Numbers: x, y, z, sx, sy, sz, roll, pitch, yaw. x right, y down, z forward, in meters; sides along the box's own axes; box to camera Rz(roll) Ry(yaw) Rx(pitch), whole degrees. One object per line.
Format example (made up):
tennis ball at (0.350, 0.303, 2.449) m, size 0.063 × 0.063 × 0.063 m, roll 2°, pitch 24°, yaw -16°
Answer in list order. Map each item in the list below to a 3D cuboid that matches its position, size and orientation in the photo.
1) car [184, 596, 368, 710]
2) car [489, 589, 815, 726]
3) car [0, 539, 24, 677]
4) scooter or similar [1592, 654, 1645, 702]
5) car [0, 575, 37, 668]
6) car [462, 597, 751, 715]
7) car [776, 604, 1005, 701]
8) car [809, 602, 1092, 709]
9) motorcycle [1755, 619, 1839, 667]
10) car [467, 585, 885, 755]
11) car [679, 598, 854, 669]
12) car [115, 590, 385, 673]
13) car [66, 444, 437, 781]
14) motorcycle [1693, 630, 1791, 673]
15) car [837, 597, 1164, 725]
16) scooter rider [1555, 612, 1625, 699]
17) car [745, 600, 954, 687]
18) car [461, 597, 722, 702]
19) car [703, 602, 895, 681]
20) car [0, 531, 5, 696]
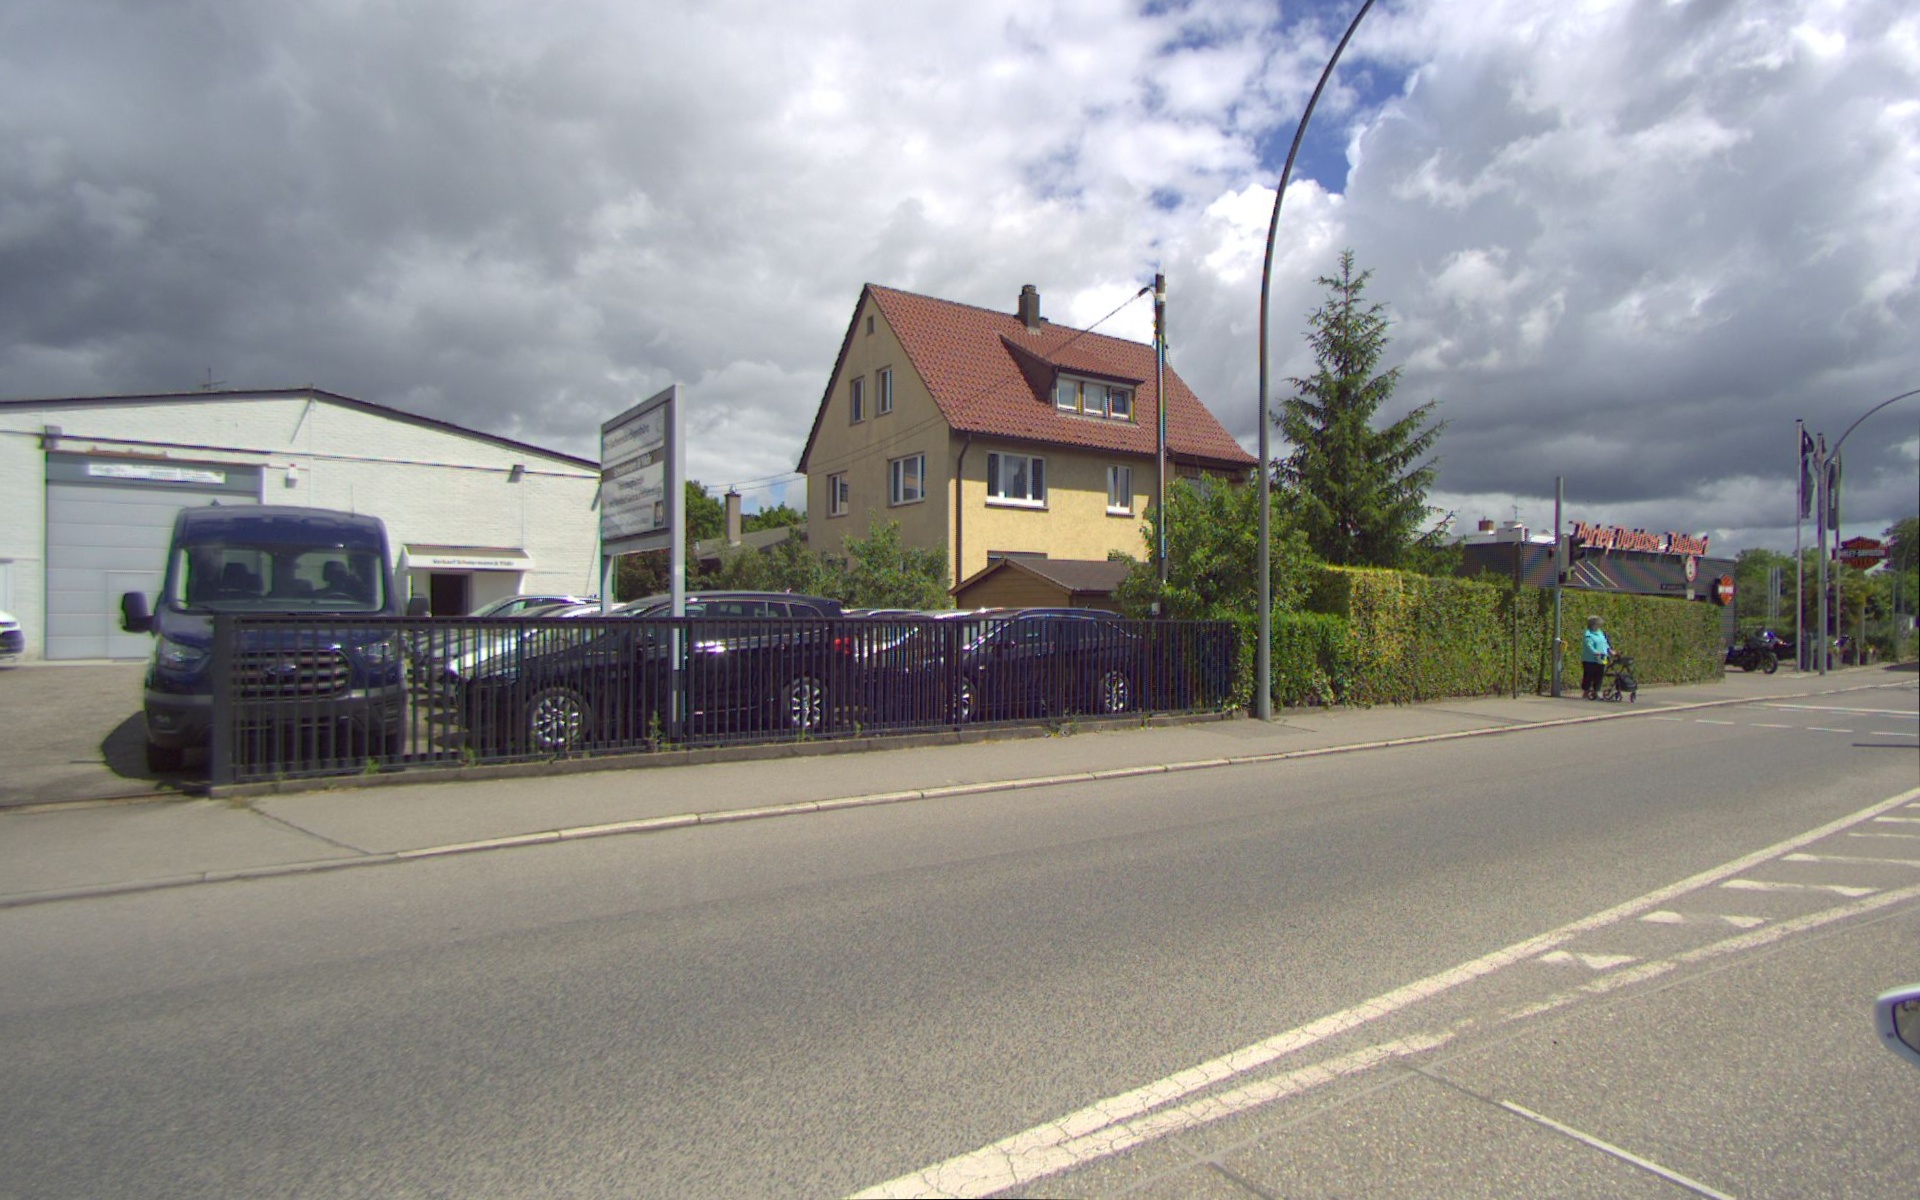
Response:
car at (-10.332, 0.746, 15.470) m, size 1.931 × 1.499 × 4.022 m, roll 1°, pitch -1°, yaw -29°
car at (-4.178, 0.738, 13.918) m, size 3.965 × 1.639 × 1.762 m, roll 1°, pitch -2°, yaw -39°
car at (-19.500, 0.106, 17.093) m, size 4.959 × 2.428 × 2.076 m, roll 1°, pitch -1°, yaw -36°
scooter or similar at (12.316, 1.447, 18.797) m, size 0.652 × 0.843 × 0.608 m, roll 1°, pitch 1°, yaw -33°
car at (-20.954, 0.394, 19.400) m, size 4.283 × 1.815 × 1.835 m, roll 1°, pitch -1°, yaw -33°
car at (-5.493, 0.824, 15.843) m, size 3.965 × 1.639 × 1.762 m, roll 1°, pitch -2°, yaw -39°
car at (-1.241, 0.935, 18.791) m, size 3.961 × 1.639 × 1.764 m, roll 1°, pitch -2°, yaw -36°
car at (-0.102, 0.844, 16.532) m, size 4.226 × 1.527 × 2.139 m, roll 1°, pitch -1°, yaw -36°
motorcycle at (31.530, 1.609, 37.881) m, size 1.023 × 1.705 × 2.306 m, roll 2°, pitch 0°, yaw -10°
car at (-3.190, 0.716, 11.613) m, size 4.243 × 1.616 × 2.018 m, roll 1°, pitch -1°, yaw -36°
car at (-4.798, 0.827, 25.201) m, size 3.965 × 1.639 × 1.762 m, roll 1°, pitch -2°, yaw -39°
car at (-16.407, 0.720, 23.491) m, size 4.959 × 1.735 × 2.035 m, roll 1°, pitch -1°, yaw -36°
car at (-7.261, 0.161, 10.738) m, size 2.450 × 2.529 × 6.003 m, roll 1°, pitch -1°, yaw -32°
motorcycle at (24.986, 1.624, 32.149) m, size 0.910 × 1.234 × 2.503 m, roll 2°, pitch -1°, yaw -10°
car at (0.636, 0.779, 14.149) m, size 4.226 × 1.527 × 2.139 m, roll 1°, pitch -1°, yaw -36°
scooter rider at (12.085, 1.048, 19.272) m, size 0.787 × 1.611 × 0.873 m, roll 1°, pitch 0°, yaw -33°
car at (-2.228, 0.865, 20.747) m, size 3.961 × 1.639 × 1.764 m, roll 1°, pitch -2°, yaw -36°
car at (-6.392, 0.825, 17.635) m, size 3.965 × 1.639 × 1.762 m, roll 1°, pitch -2°, yaw -39°
car at (-3.587, 0.904, 22.758) m, size 3.965 × 1.639 × 1.762 m, roll 1°, pitch -2°, yaw -39°
car at (-16.588, 0.120, 12.697) m, size 6.063 × 2.528 × 2.401 m, roll 1°, pitch -3°, yaw -31°
